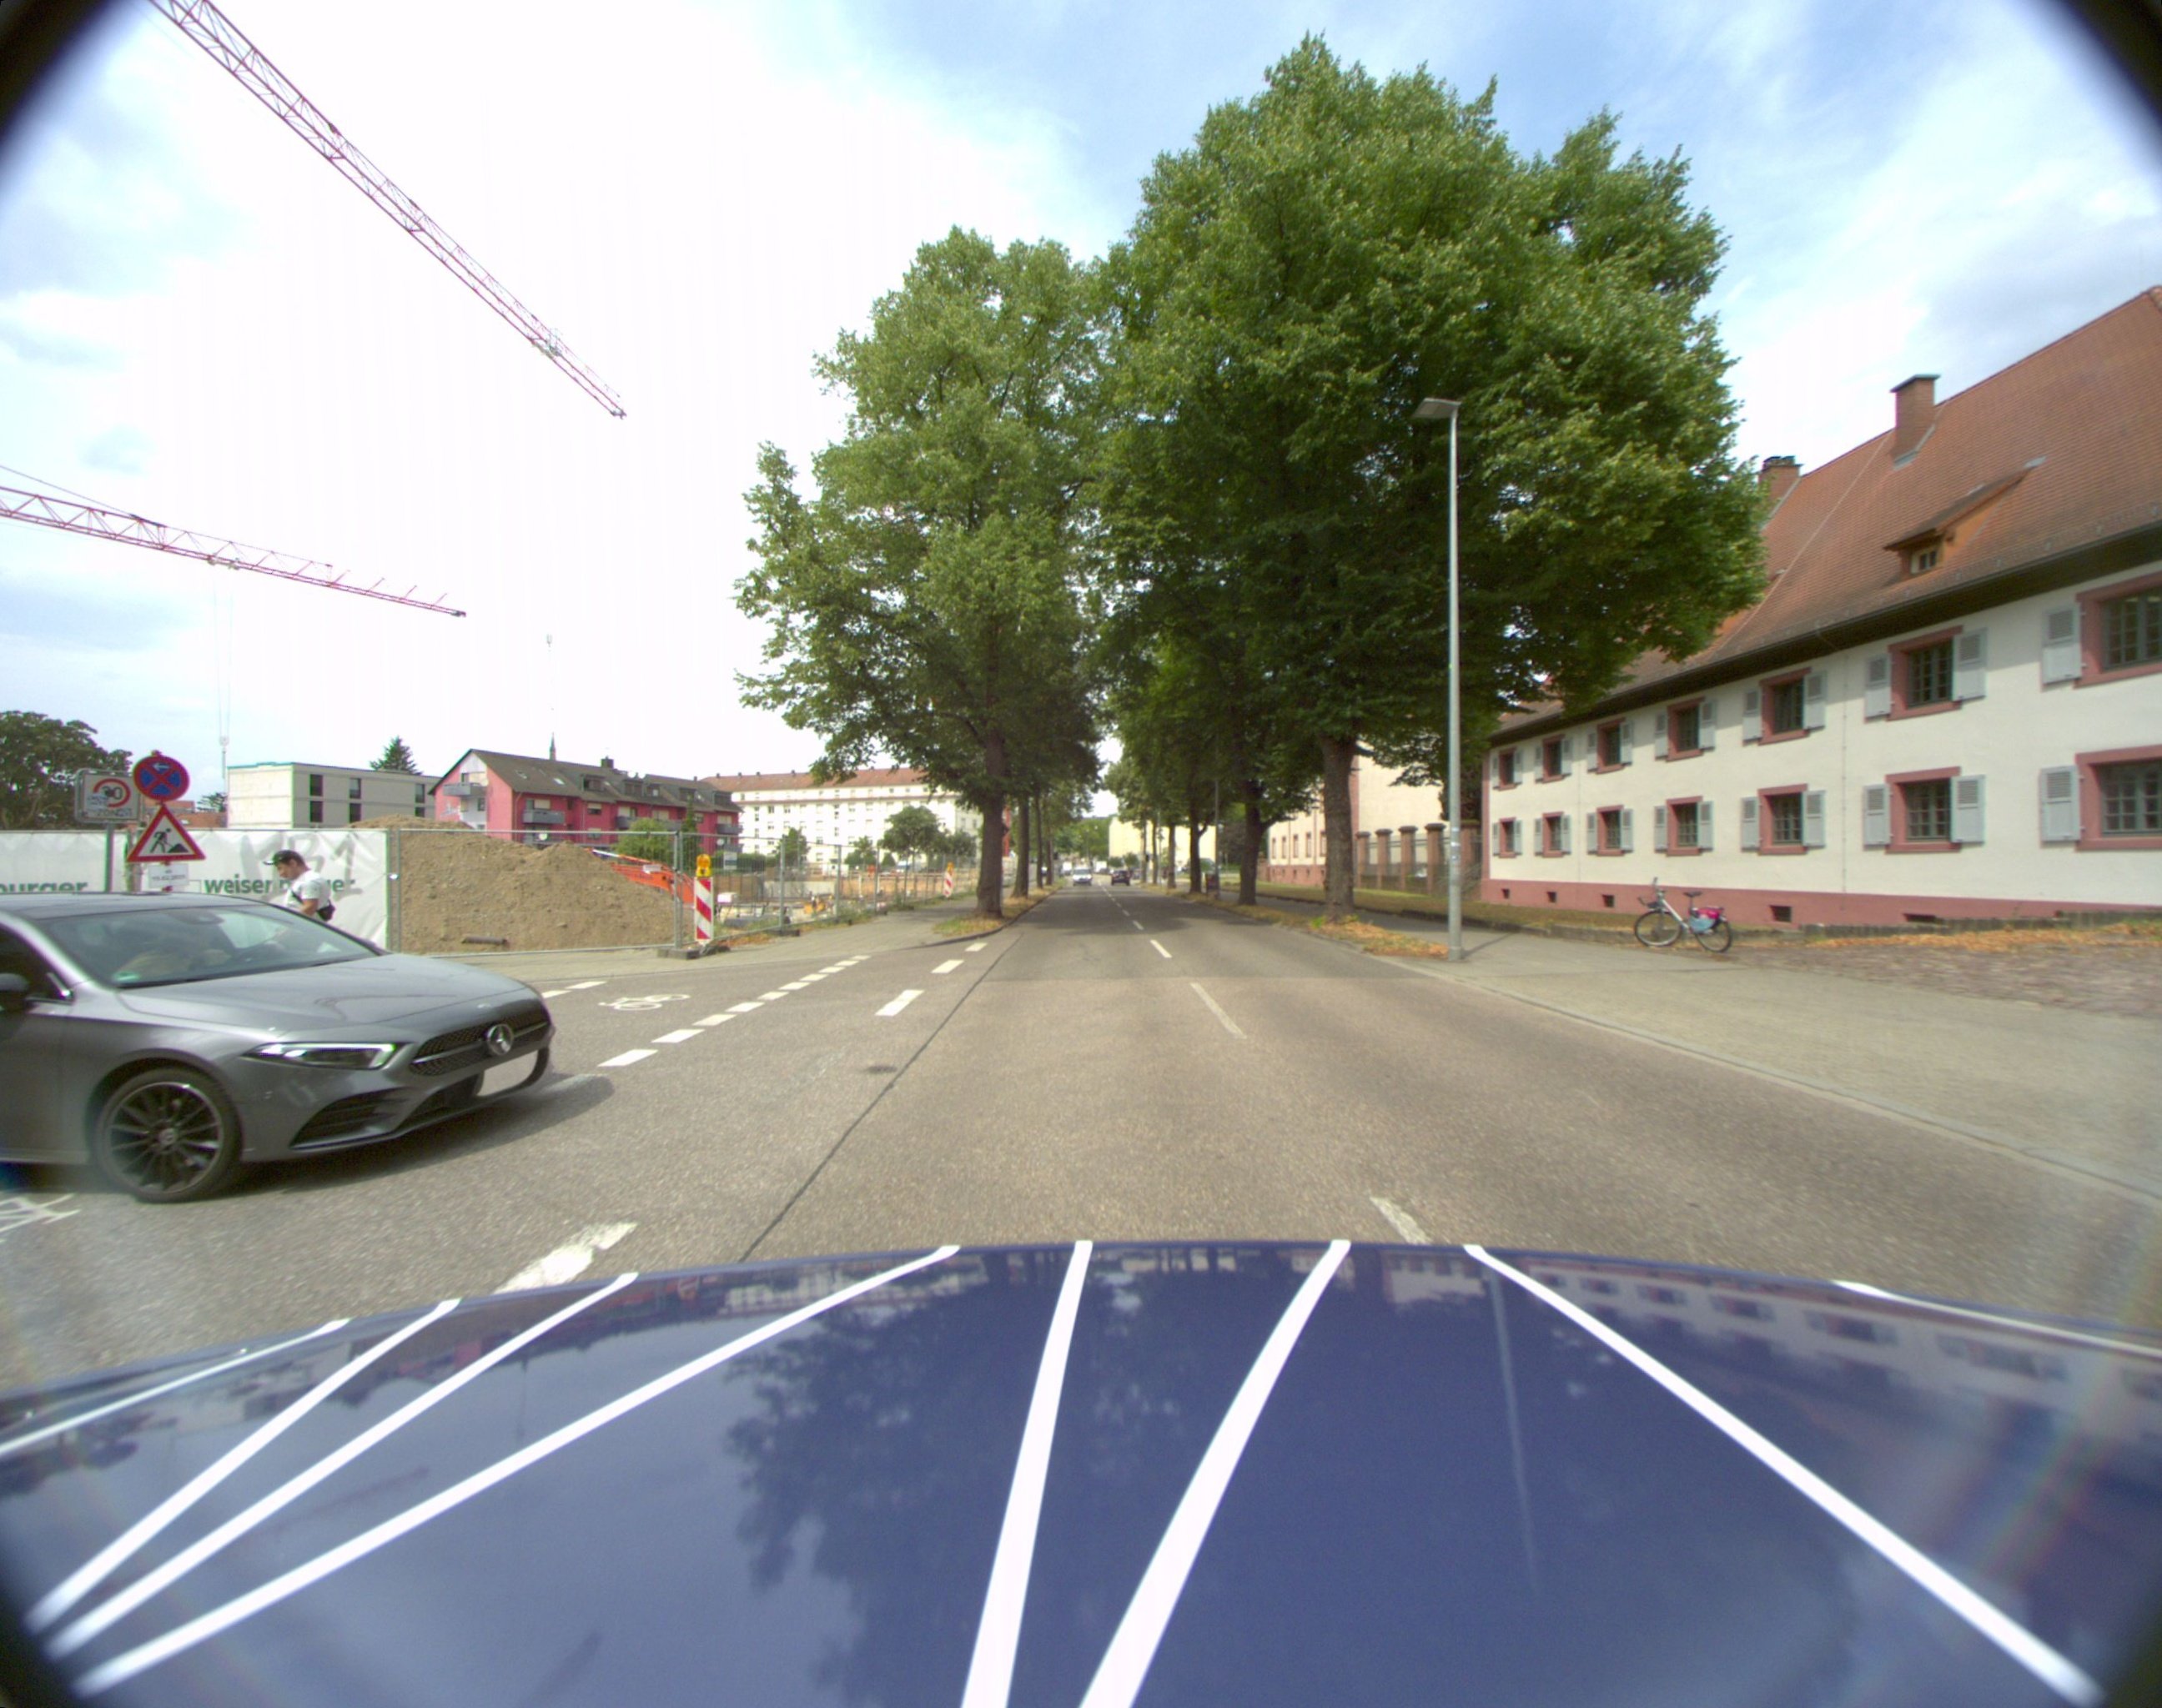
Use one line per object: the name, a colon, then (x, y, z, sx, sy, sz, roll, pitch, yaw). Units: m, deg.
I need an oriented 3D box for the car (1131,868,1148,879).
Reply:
car: (8.060, 2.724, 105.134, 1.827, 1.464, 4.297, -2, -1, -2)

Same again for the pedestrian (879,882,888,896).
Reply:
pedestrian: (-25.164, 4.493, 96.869, 0.842, 1.712, 0.722, 2, 0, 37)

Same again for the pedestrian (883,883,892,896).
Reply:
pedestrian: (-24.860, 4.570, 97.711, 0.842, 1.712, 0.722, 2, 0, 37)

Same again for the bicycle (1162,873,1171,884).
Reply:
bicycle: (9.606, 2.736, 85.092, 0.724, 1.088, 2.151, -4, -1, 0)

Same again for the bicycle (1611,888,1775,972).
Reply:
bicycle: (9.502, 1.136, 11.945, 0.724, 1.088, 2.225, -4, -1, 0)

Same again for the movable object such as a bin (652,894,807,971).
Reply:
movable object such as a bin: (-14.120, 3.059, 30.716, 4.688, 2.574, 3.137, 2, 0, 15)

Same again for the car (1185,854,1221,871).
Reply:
car: (19.140, 1.356, 119.597, 5.324, 2.537, 2.355, -2, 0, 2)

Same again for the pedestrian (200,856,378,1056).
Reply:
pedestrian: (-7.758, 0.936, 7.474, 0.883, 1.803, 0.890, 2, 0, 19)

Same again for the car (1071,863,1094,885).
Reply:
car: (0.116, 1.881, 73.214, 1.999, 2.002, 3.999, 2, 0, -3)

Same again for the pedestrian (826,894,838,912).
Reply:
pedestrian: (-23.550, 4.624, 71.937, 0.842, 1.712, 0.722, 2, 0, 42)

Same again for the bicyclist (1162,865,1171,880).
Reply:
bicyclist: (9.572, 2.081, 85.058, 0.724, 1.646, 0.958, -4, 0, 0)

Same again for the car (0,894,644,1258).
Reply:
car: (-5.349, 1.060, 4.484, 4.381, 1.434, 2.011, 1, 2, 2)

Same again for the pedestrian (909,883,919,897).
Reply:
pedestrian: (-20.316, 4.382, 92.508, 0.842, 1.712, 0.722, 2, 0, 37)

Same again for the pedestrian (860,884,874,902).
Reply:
pedestrian: (-20.974, 3.830, 74.558, 0.842, 1.712, 0.986, 2, 0, 42)

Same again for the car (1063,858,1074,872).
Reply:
car: (-2.450, 2.086, 144.978, 1.900, 2.586, 4.903, -2, 0, -3)

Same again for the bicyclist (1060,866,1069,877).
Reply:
bicyclist: (-2.239, 2.407, 103.487, 1.078, 1.404, 0.716, -3, -3, 32)

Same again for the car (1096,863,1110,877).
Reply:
car: (5.197, 3.682, 178.439, 2.622, 3.039, 7.113, 2, -1, -3)

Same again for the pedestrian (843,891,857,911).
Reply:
pedestrian: (-19.758, 4.008, 64.988, 0.843, 1.712, 0.721, 2, 0, 16)

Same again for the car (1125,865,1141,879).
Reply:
car: (7.889, 2.713, 115.743, 1.954, 1.992, 4.844, -1, -1, -1)

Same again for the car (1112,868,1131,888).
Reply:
car: (3.976, 2.324, 74.677, 1.776, 1.650, 4.257, 2, 1, 2)

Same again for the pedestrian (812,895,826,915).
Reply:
pedestrian: (-23.253, 4.499, 67.529, 0.718, 1.712, 0.847, 2, 0, 35)
